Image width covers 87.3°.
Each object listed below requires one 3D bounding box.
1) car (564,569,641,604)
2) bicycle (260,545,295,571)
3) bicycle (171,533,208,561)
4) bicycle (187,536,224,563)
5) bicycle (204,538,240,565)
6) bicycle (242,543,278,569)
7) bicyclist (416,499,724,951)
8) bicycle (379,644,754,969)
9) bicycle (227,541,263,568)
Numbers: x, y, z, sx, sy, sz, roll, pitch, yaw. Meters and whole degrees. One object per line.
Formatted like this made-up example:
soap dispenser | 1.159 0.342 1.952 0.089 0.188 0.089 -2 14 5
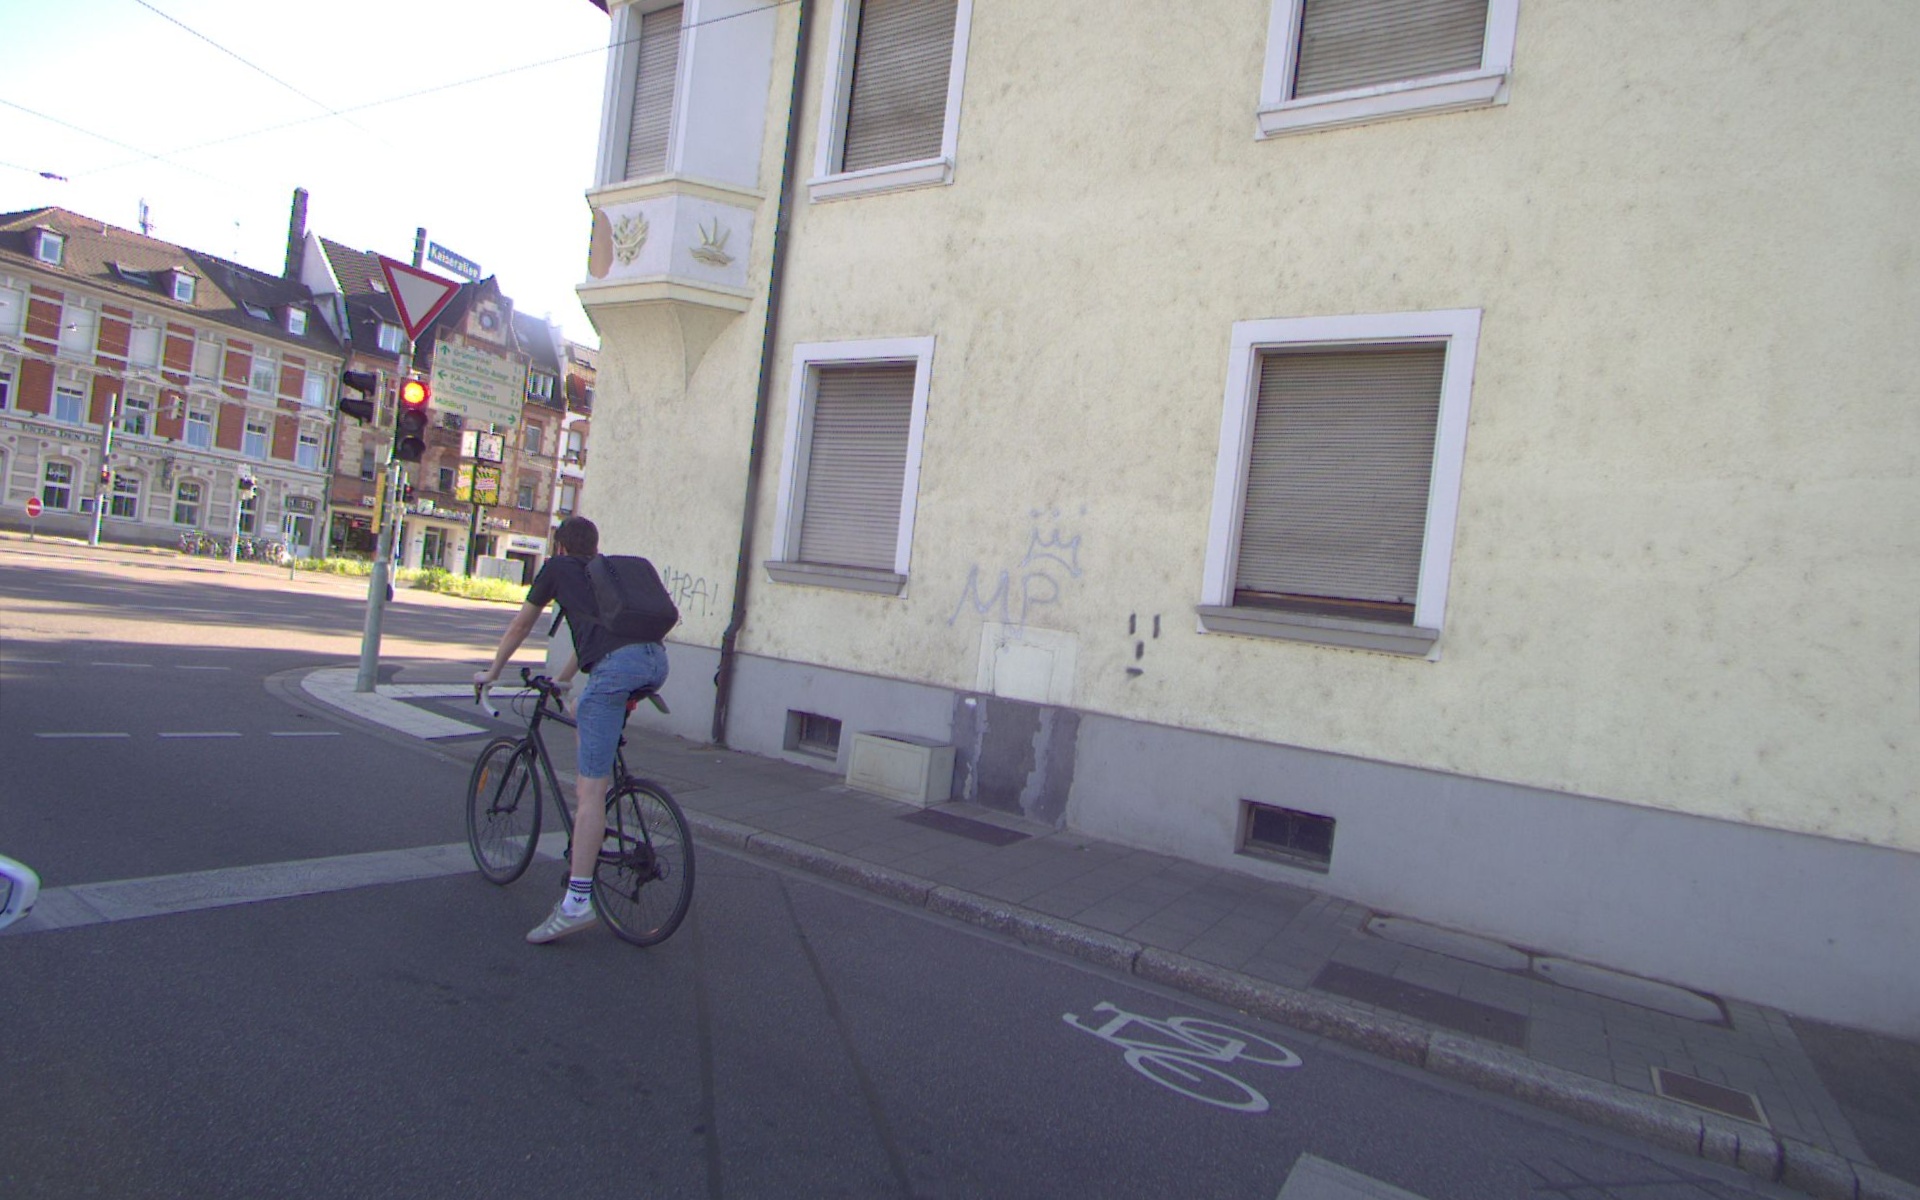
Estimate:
car | -23.130 -0.863 65.305 1.966 1.674 4.378 7 -1 29
bicycle | -32.987 -2.015 48.584 1.614 1.064 0.606 7 0 27
bicycle | -34.952 -2.393 45.608 1.614 1.064 0.606 7 0 27
bicycle | -34.652 -2.330 46.190 1.614 1.064 0.606 7 0 27
bicycle | -34.322 -2.263 46.766 1.614 1.064 0.606 7 0 27
bicycle | -33.361 -2.089 47.947 1.614 1.064 0.606 7 0 27
bicyclist | -1.745 0.492 4.486 1.066 1.751 0.561 6 -1 32
bicycle | -1.800 0.824 4.490 1.729 1.029 0.532 7 0 32
bicycle | -33.655 -2.153 47.336 1.614 1.064 0.606 7 0 27
